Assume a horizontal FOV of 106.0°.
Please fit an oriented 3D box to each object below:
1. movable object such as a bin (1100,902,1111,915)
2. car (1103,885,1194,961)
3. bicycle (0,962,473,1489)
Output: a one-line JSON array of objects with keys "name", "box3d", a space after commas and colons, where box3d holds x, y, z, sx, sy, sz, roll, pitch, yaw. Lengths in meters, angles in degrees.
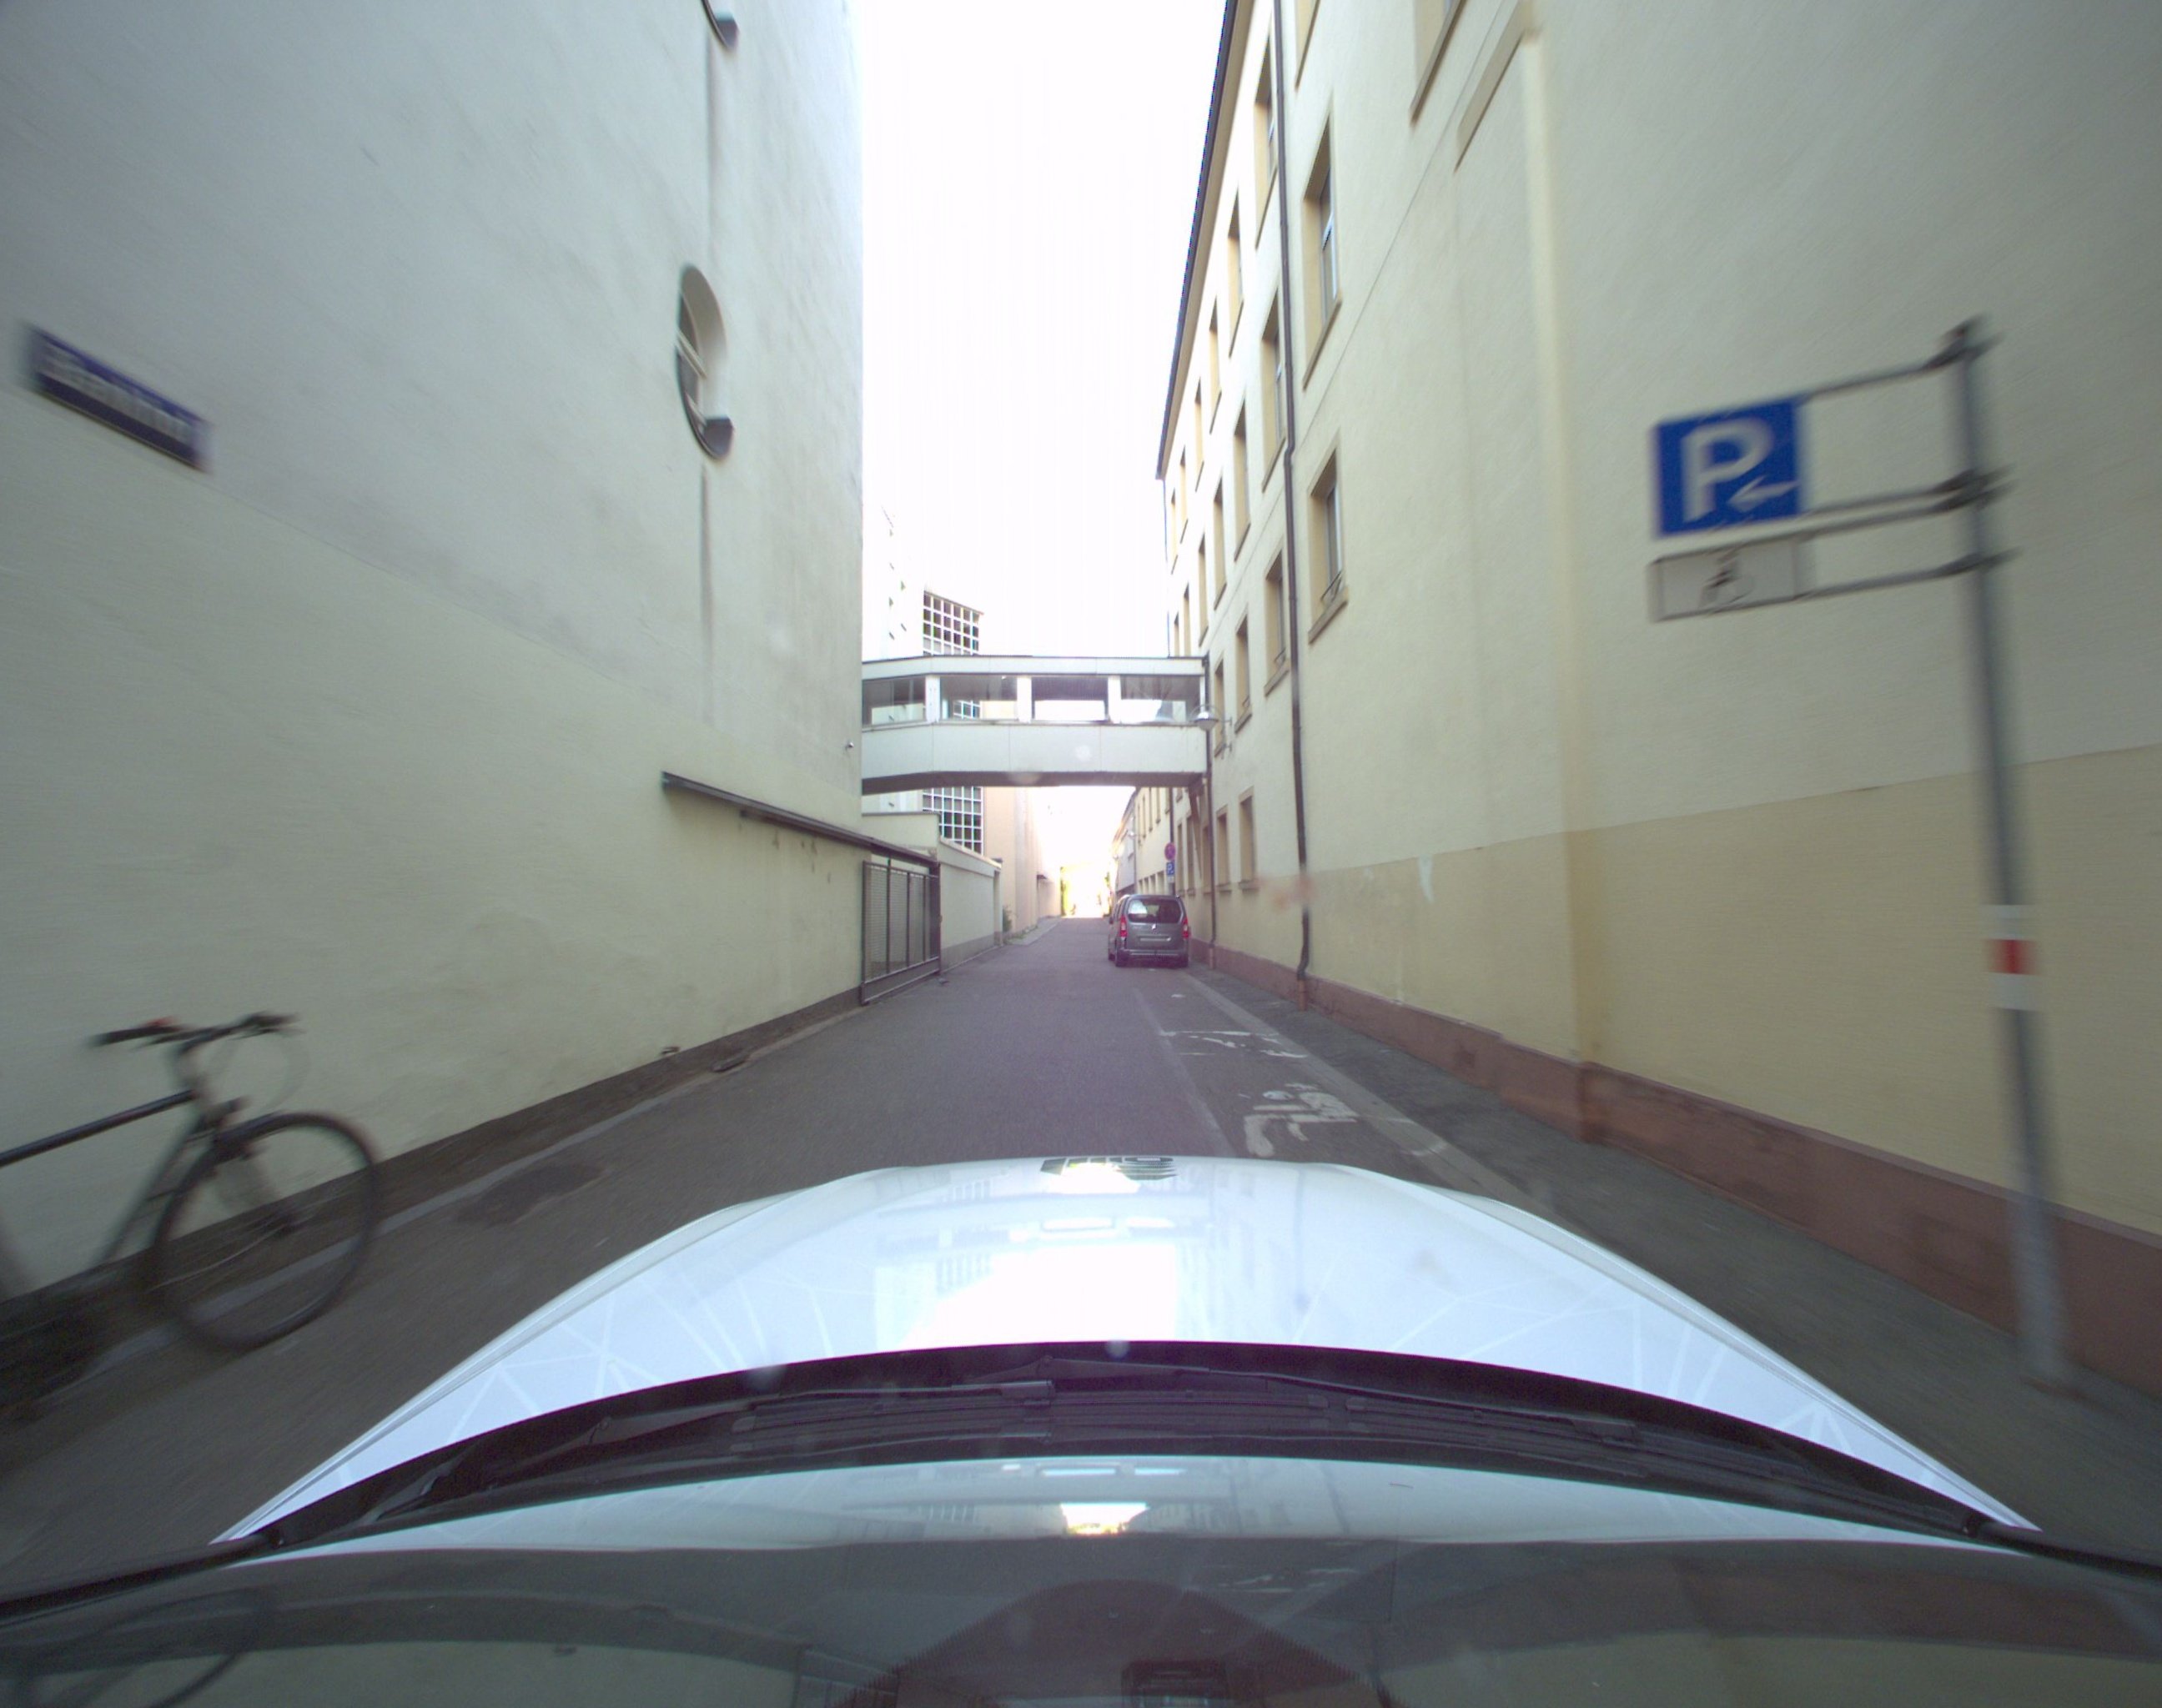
[{"name": "movable object such as a bin", "box3d": [2.806, 6.204, 93.388, 1.103, 1.436, 1.413, -1, -2, 0]}, {"name": "car", "box3d": [1.675, 1.833, 21.483, 1.850, 1.757, 4.156, 2, -5, -2]}, {"name": "bicycle", "box3d": [-2.719, 0.919, 2.331, 0.593, 1.080, 1.755, -1, -4, 0]}]
